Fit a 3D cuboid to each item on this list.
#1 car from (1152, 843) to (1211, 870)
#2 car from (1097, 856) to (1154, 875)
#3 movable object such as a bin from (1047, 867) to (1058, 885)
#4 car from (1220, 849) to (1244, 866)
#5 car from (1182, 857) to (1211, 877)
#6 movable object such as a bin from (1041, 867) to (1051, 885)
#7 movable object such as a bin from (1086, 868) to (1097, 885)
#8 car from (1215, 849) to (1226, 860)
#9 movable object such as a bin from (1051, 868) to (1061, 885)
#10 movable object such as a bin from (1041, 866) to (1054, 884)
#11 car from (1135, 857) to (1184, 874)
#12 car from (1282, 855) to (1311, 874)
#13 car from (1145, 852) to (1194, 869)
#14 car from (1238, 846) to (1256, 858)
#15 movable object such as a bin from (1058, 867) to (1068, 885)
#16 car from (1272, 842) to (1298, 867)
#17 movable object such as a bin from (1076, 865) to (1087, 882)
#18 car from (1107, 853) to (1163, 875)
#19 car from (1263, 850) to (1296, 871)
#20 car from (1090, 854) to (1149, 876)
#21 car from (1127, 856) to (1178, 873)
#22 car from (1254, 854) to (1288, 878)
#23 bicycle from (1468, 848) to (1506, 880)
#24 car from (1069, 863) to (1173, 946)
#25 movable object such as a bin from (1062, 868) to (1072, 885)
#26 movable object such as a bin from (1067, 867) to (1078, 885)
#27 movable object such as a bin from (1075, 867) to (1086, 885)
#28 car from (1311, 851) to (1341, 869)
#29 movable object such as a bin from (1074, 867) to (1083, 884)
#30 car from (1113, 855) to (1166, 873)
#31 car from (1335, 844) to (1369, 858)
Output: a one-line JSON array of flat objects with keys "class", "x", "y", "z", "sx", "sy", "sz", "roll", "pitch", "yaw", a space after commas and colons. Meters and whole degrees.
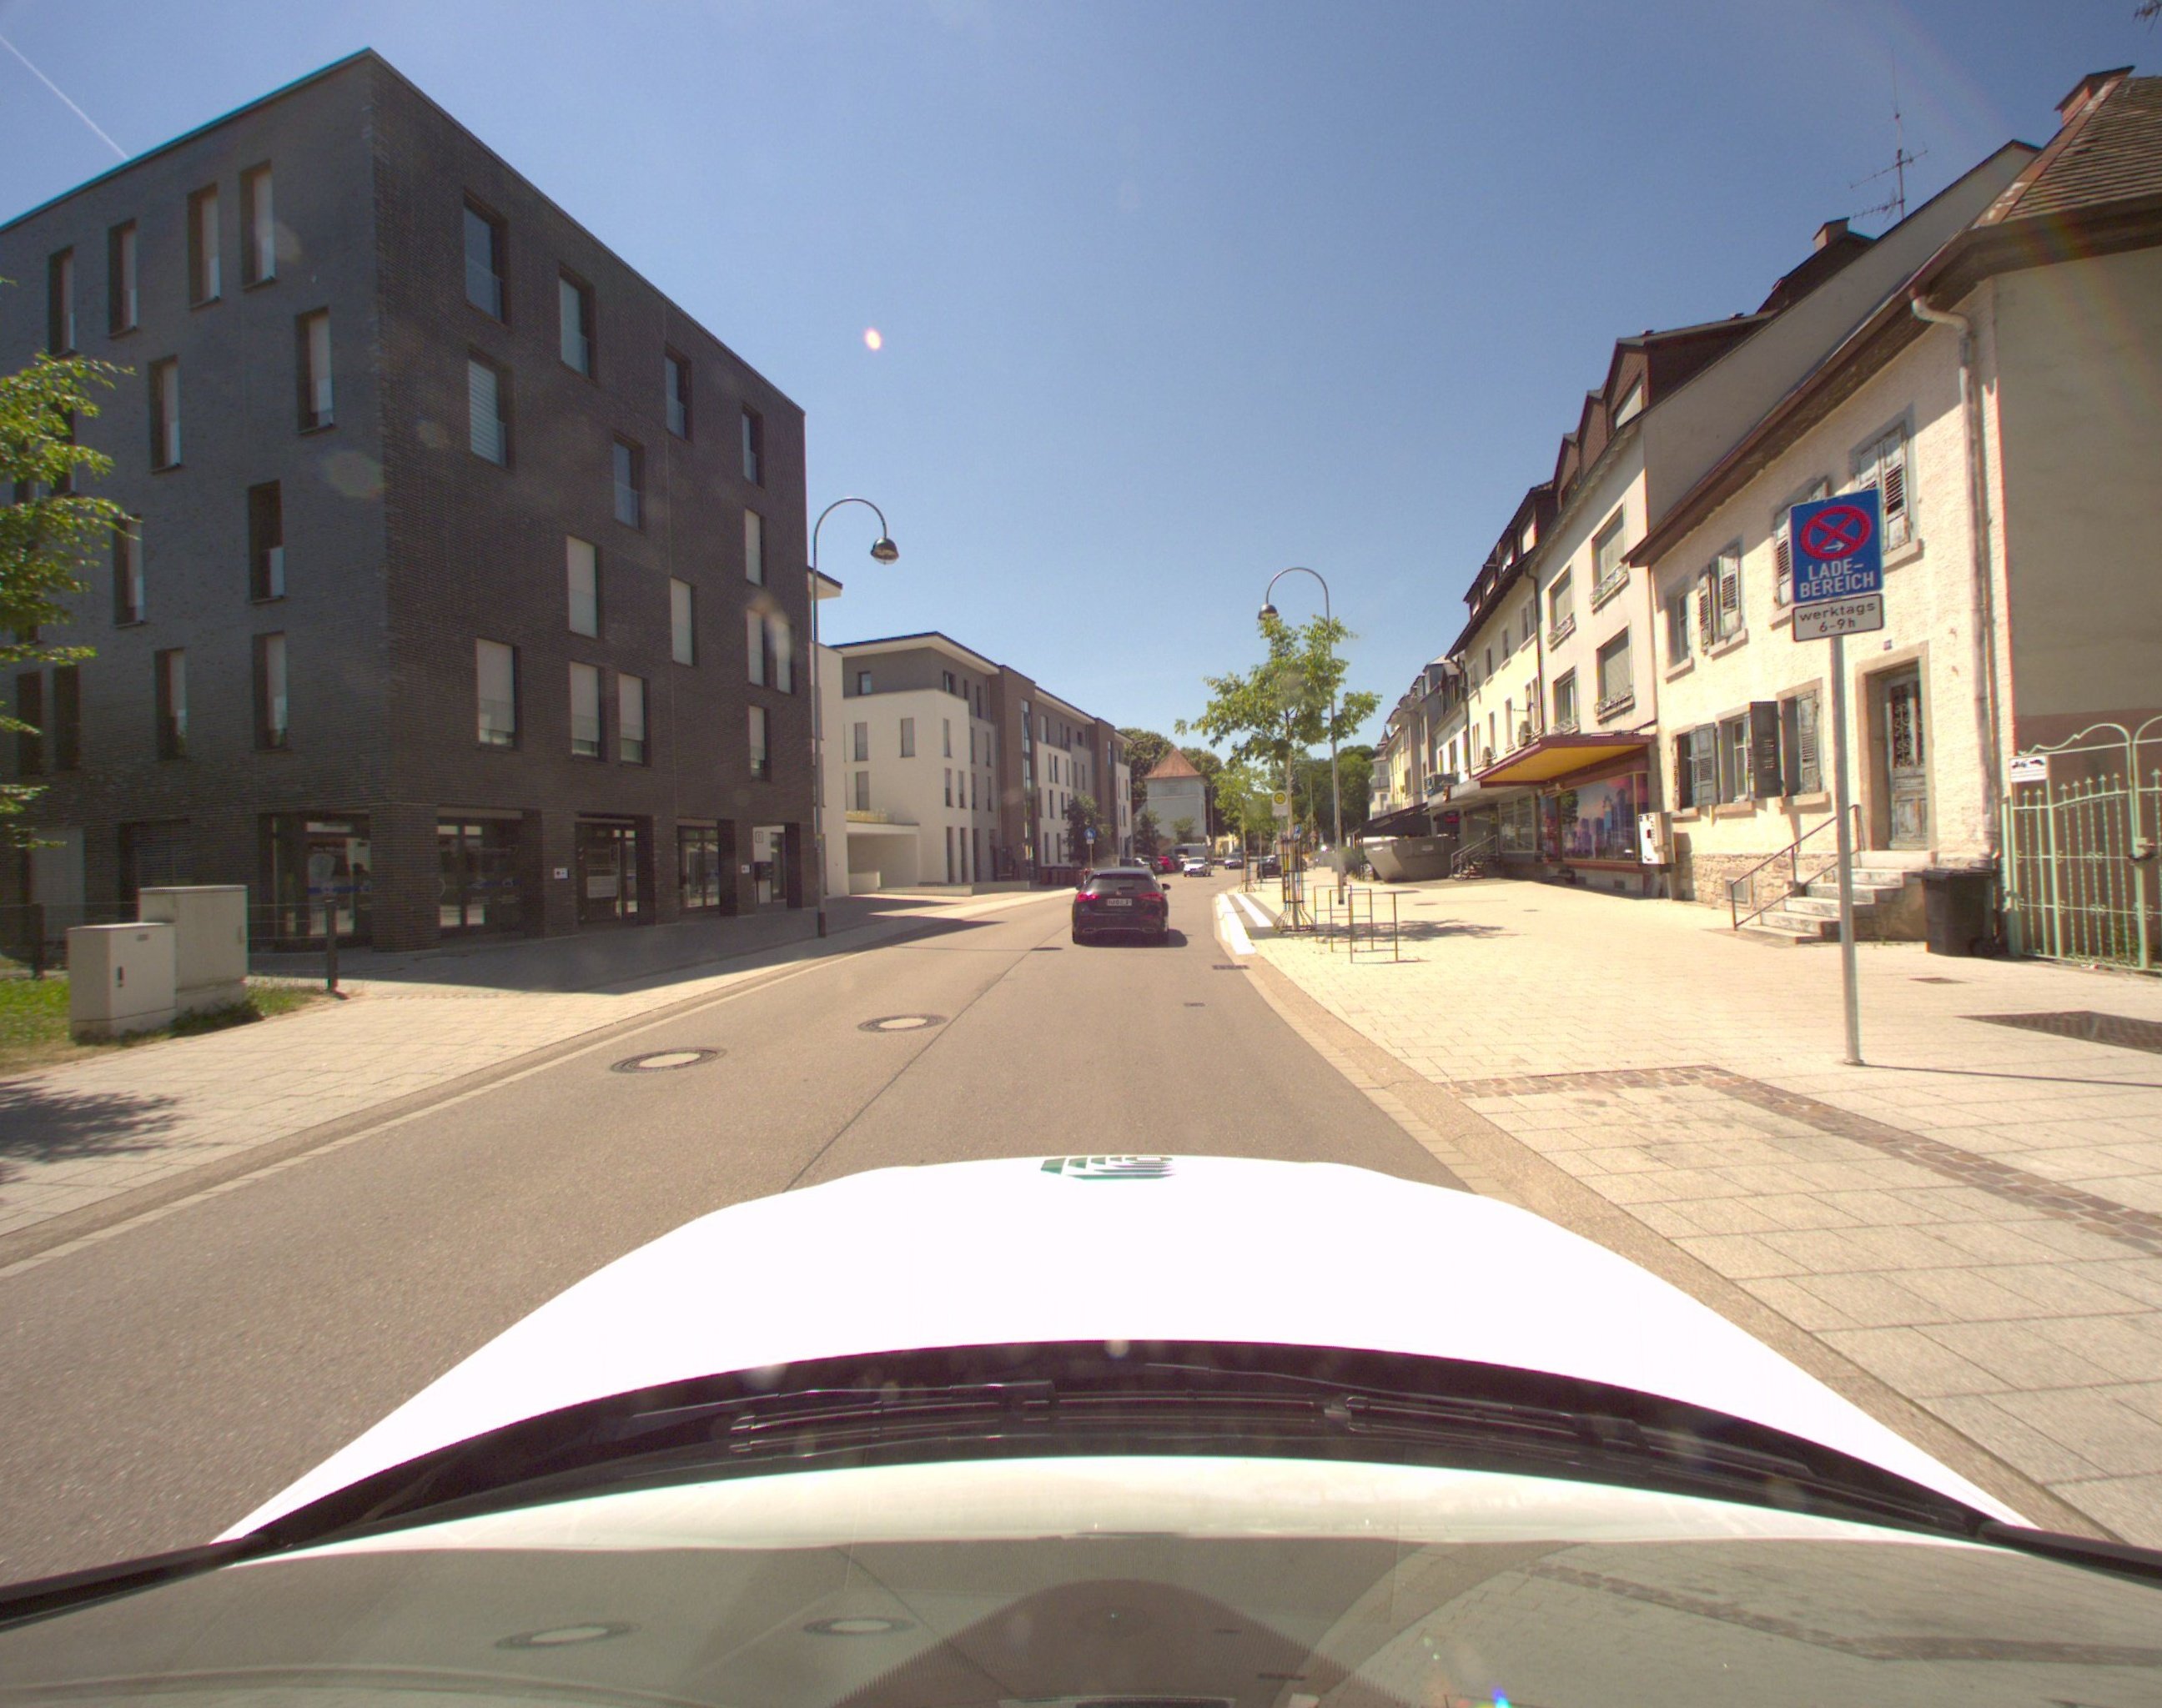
[{"class": "car", "x": 10.361, "y": 0.257, "z": 83.970, "sx": 5.721, "sy": 2.732, "sz": 2.302, "roll": -1, "pitch": 0, "yaw": 18}, {"class": "car", "x": 3.435, "y": 0.879, "z": 62.417, "sx": 3.955, "sy": 1.421, "sz": 1.919, "roll": 0, "pitch": 0, "yaw": 18}, {"class": "movable object such as a bin", "x": -1.664, "y": 1.285, "z": 47.259, "sx": 0.479, "sy": 0.998, "sz": 0.528, "roll": -2, "pitch": 0, "yaw": 15}, {"class": "car", "x": 15.249, "y": 0.366, "z": 82.090, "sx": 1.927, "sy": 1.658, "sz": 4.254, "roll": -1, "pitch": 0, "yaw": 17}, {"class": "car", "x": 8.922, "y": 0.981, "z": 62.570, "sx": 1.654, "sy": 1.396, "sz": 3.864, "roll": -1, "pitch": -1, "yaw": 16}, {"class": "movable object such as a bin", "x": -2.065, "y": 1.306, "z": 48.008, "sx": 0.480, "sy": 0.998, "sz": 0.589, "roll": -2, "pitch": 0, "yaw": 10}, {"class": "movable object such as a bin", "x": 0.610, "y": 1.305, "z": 47.691, "sx": 0.479, "sy": 0.998, "sz": 0.590, "roll": -2, "pitch": 0, "yaw": 16}, {"class": "car", "x": 26.125, "y": 0.043, "z": 152.283, "sx": 1.982, "sy": 2.014, "sz": 4.010, "roll": 0, "pitch": -1, "yaw": 9}, {"class": "movable object such as a bin", "x": -1.454, "y": 1.334, "z": 47.844, "sx": 0.400, "sy": 0.998, "sz": 0.558, "roll": -2, "pitch": 0, "yaw": 16}, {"class": "movable object such as a bin", "x": -2.040, "y": 1.273, "z": 49.621, "sx": 0.690, "sy": 1.095, "sz": 0.647, "roll": -2, "pitch": 0, "yaw": 0}, {"class": "car", "x": 7.192, "y": 1.043, "z": 74.161, "sx": 4.170, "sy": 1.437, "sz": 1.893, "roll": -1, "pitch": 0, "yaw": 13}, {"class": "car", "x": 18.142, "y": 0.841, "z": 68.425, "sx": 1.709, "sy": 1.405, "sz": 4.633, "roll": -3, "pitch": -1, "yaw": 21}, {"class": "car", "x": 8.682, "y": 0.642, "z": 79.423, "sx": 4.419, "sy": 1.591, "sz": 2.009, "roll": -1, "pitch": 0, "yaw": 17}, {"class": "car", "x": 23.048, "y": -0.267, "z": 113.057, "sx": 1.795, "sy": 1.701, "sz": 4.097, "roll": -1, "pitch": 0, "yaw": 21}, {"class": "movable object such as a bin", "x": -1.043, "y": 1.282, "z": 47.386, "sx": 0.421, "sy": 0.998, "sz": 0.526, "roll": -2, "pitch": 0, "yaw": 17}, {"class": "car", "x": 23.561, "y": 0.050, "z": 93.870, "sx": 2.109, "sy": 2.629, "sz": 5.306, "roll": -4, "pitch": 0, "yaw": 21}, {"class": "movable object such as a bin", "x": 0.051, "y": 1.173, "z": 50.146, "sx": 0.550, "sy": 1.020, "sz": 0.562, "roll": -2, "pitch": 0, "yaw": 13}, {"class": "car", "x": 4.281, "y": 0.791, "z": 64.805, "sx": 3.999, "sy": 1.651, "sz": 2.010, "roll": -1, "pitch": 0, "yaw": 19}, {"class": "car", "x": 15.279, "y": 0.475, "z": 62.511, "sx": 1.722, "sy": 1.486, "sz": 4.076, "roll": -5, "pitch": -1, "yaw": 23}, {"class": "car", "x": 2.838, "y": 0.835, "z": 60.324, "sx": 3.955, "sy": 1.515, "sz": 2.010, "roll": -1, "pitch": 2, "yaw": 17}, {"class": "car", "x": 6.152, "y": 0.879, "z": 69.835, "sx": 3.999, "sy": 1.430, "sz": 2.010, "roll": 0, "pitch": 0, "yaw": 19}, {"class": "car", "x": 13.226, "y": 0.814, "z": 56.468, "sx": 1.818, "sy": 1.482, "sz": 4.115, "roll": -4, "pitch": -2, "yaw": 18}, {"class": "bicycle", "x": 15.511, "y": 0.385, "z": 31.140, "sx": 1.258, "sy": 1.184, "sz": 0.417, "roll": 0, "pitch": -1, "yaw": 25}, {"class": "car", "x": 0.800, "y": 0.914, "z": 16.362, "sx": 1.820, "sy": 1.442, "sz": 4.002, "roll": 0, "pitch": -1, "yaw": 3}, {"class": "movable object such as a bin", "x": -0.807, "y": 1.312, "z": 47.901, "sx": 0.400, "sy": 0.998, "sz": 0.558, "roll": -2, "pitch": 0, "yaw": 16}, {"class": "movable object such as a bin", "x": -0.484, "y": 1.279, "z": 47.374, "sx": 0.479, "sy": 0.998, "sz": 0.590, "roll": -2, "pitch": 0, "yaw": 16}, {"class": "movable object such as a bin", "x": -0.025, "y": 1.276, "z": 47.061, "sx": 0.480, "sy": 0.998, "sz": 0.589, "roll": -2, "pitch": 0, "yaw": 10}, {"class": "car", "x": 23.611, "y": 0.583, "z": 78.437, "sx": 1.854, "sy": 1.491, "sz": 3.886, "roll": -4, "pitch": 1, "yaw": 31}, {"class": "movable object such as a bin", "x": -0.139, "y": 1.277, "z": 47.860, "sx": 0.400, "sy": 0.998, "sz": 0.558, "roll": -2, "pitch": 0, "yaw": 16}, {"class": "car", "x": 4.882, "y": 0.834, "z": 67.577, "sx": 3.999, "sy": 1.496, "sz": 2.010, "roll": 0, "pitch": 0, "yaw": 19}, {"class": "car", "x": 34.799, "y": -0.434, "z": 104.656, "sx": 4.044, "sy": 1.716, "sz": 1.864, "roll": -1, "pitch": 0, "yaw": 15}]
